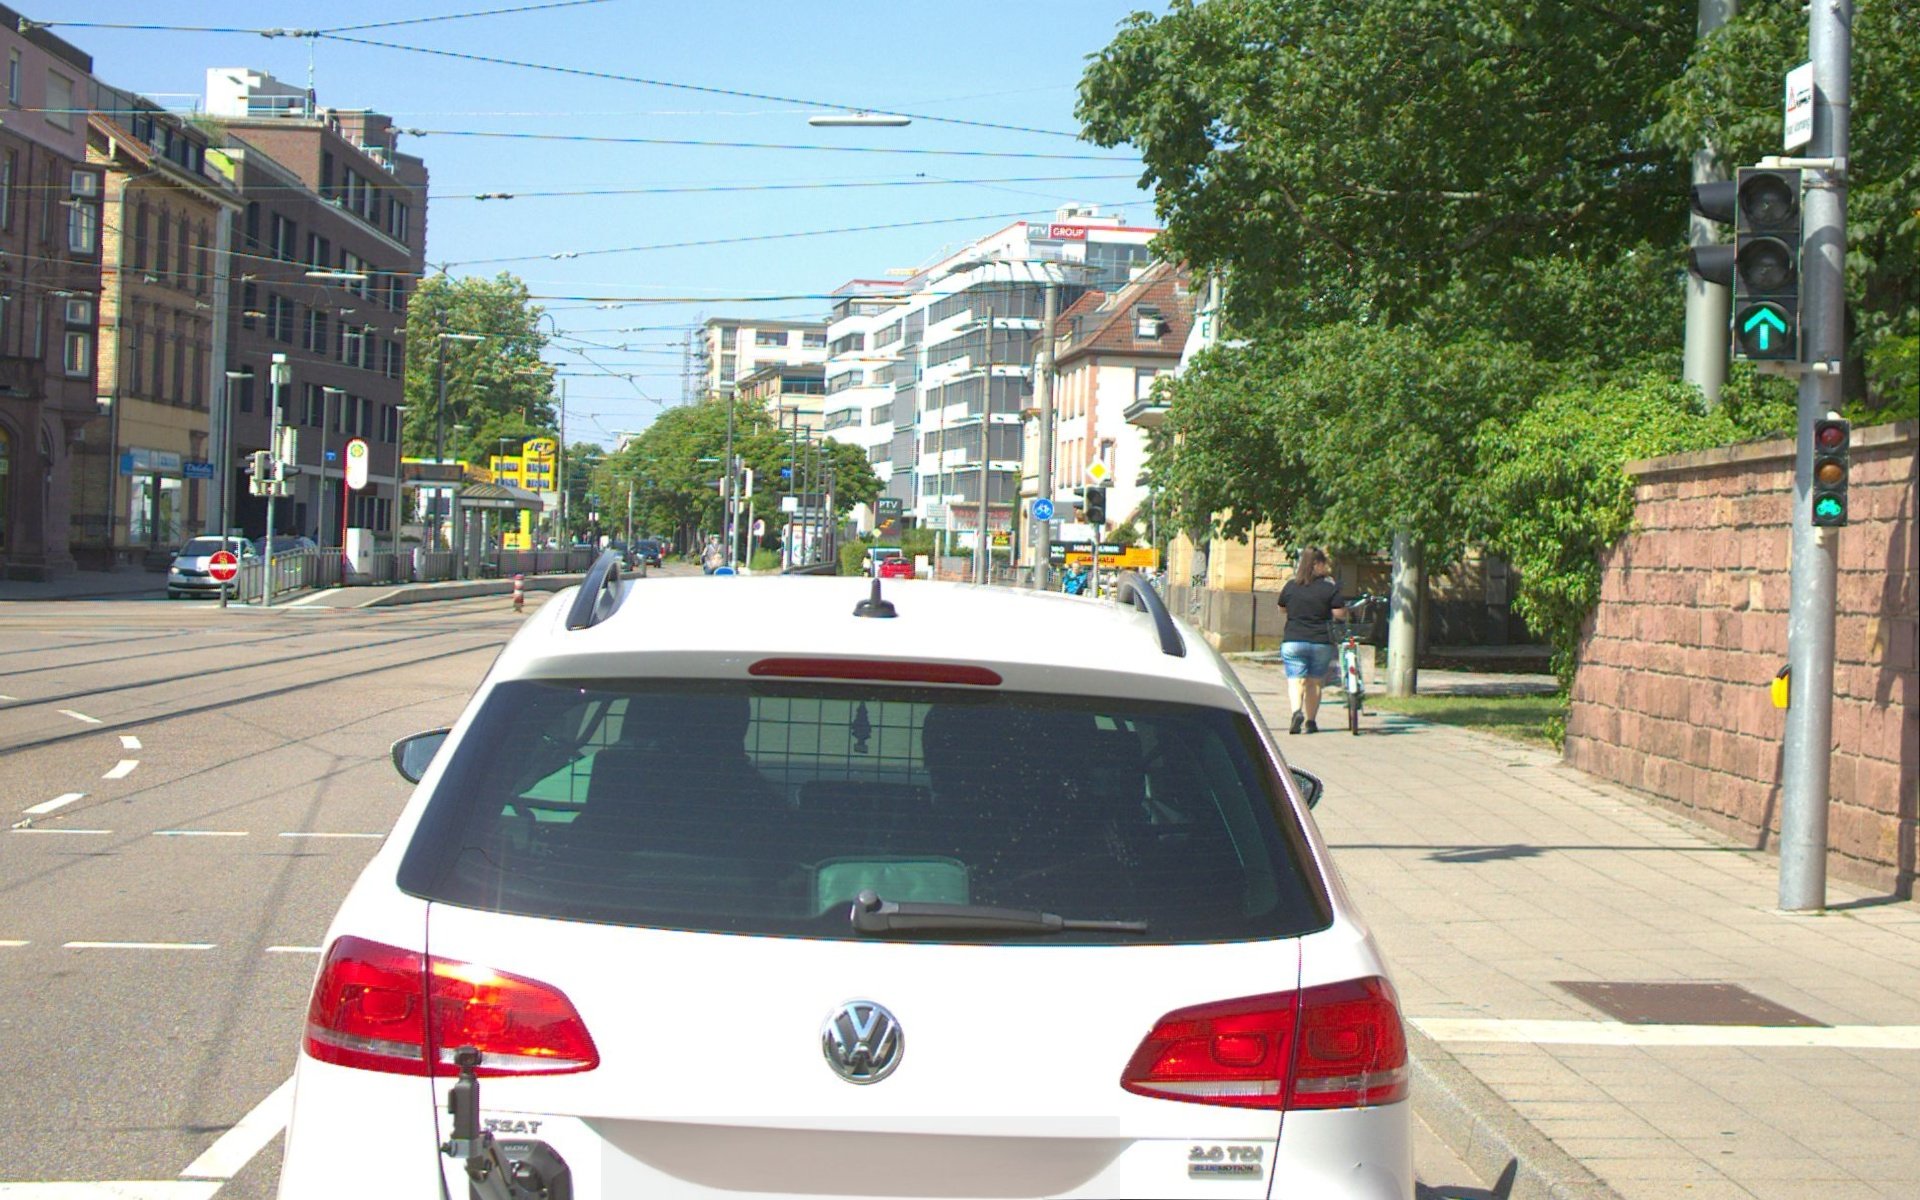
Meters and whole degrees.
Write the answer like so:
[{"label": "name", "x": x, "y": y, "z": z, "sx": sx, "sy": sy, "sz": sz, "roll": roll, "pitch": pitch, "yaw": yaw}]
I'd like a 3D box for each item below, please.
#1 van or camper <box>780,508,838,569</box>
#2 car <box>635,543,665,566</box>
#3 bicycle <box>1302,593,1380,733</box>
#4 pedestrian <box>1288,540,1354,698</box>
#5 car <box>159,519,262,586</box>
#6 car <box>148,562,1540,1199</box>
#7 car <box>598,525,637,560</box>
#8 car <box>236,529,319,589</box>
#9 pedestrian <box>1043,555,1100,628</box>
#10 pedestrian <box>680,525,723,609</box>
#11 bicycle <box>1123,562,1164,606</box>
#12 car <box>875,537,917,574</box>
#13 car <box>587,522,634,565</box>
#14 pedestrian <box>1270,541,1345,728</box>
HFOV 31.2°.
[{"label": "van or camper", "x": -8.244, "y": -3.351, "z": 186.891, "sx": 2.943, "sy": 3.169, "sz": 6.614, "roll": 2, "pitch": 1, "yaw": -3}, {"label": "car", "x": -20.623, "y": -3.049, "z": 229.012, "sx": 1.667, "sy": 1.461, "sz": 3.773, "roll": 2, "pitch": 1, "yaw": -1}, {"label": "bicycle", "x": 3.161, "y": 0.499, "z": 28.465, "sx": 0.536, "sy": 1.107, "sz": 1.806, "roll": 1, "pitch": 0, "yaw": 9}, {"label": "pedestrian", "x": 3.930, "y": 0.204, "z": 37.393, "sx": 0.650, "sy": 1.676, "sz": 0.707, "roll": 2, "pitch": 1, "yaw": 7}, {"label": "car", "x": -17.458, "y": -1.103, "z": 80.228, "sx": 1.625, "sy": 1.426, "sz": 3.963, "roll": 3, "pitch": 1, "yaw": -2}, {"label": "car", "x": -0.178, "y": 0.677, "z": 6.324, "sx": 1.752, "sy": 1.413, "sz": 3.853, "roll": 2, "pitch": 1, "yaw": -1}, {"label": "car", "x": -19.927, "y": -3.335, "z": 200.135, "sx": 1.993, "sy": 2.007, "sz": 4.000, "roll": 1, "pitch": 1, "yaw": -2}, {"label": "car", "x": -17.472, "y": -1.070, "z": 88.107, "sx": 1.572, "sy": 1.454, "sz": 3.815, "roll": 2, "pitch": 1, "yaw": -4}, {"label": "pedestrian", "x": 2.376, "y": -0.182, "z": 73.123, "sx": 0.858, "sy": 1.505, "sz": 0.780, "roll": 3, "pitch": 1, "yaw": 40}, {"label": "pedestrian", "x": -5.713, "y": -0.732, "z": 76.021, "sx": 0.826, "sy": 1.803, "sz": 0.833, "roll": 2, "pitch": 1, "yaw": 0}, {"label": "bicycle", "x": 4.824, "y": -0.424, "z": 90.133, "sx": 0.726, "sy": 1.135, "sz": 2.193, "roll": 2, "pitch": 1, "yaw": 12}, {"label": "car", "x": -3.609, "y": -2.496, "z": 192.398, "sx": 1.993, "sy": 2.007, "sz": 4.001, "roll": 2, "pitch": 1, "yaw": -5}, {"label": "car", "x": -16.566, "y": -2.671, "z": 163.032, "sx": 1.993, "sy": 2.007, "sz": 4.000, "roll": 1, "pitch": 1, "yaw": -2}, {"label": "pedestrian", "x": 2.895, "y": 0.280, "z": 28.672, "sx": 0.540, "sy": 1.543, "sz": 0.663, "roll": 0, "pitch": 1, "yaw": -1}]
